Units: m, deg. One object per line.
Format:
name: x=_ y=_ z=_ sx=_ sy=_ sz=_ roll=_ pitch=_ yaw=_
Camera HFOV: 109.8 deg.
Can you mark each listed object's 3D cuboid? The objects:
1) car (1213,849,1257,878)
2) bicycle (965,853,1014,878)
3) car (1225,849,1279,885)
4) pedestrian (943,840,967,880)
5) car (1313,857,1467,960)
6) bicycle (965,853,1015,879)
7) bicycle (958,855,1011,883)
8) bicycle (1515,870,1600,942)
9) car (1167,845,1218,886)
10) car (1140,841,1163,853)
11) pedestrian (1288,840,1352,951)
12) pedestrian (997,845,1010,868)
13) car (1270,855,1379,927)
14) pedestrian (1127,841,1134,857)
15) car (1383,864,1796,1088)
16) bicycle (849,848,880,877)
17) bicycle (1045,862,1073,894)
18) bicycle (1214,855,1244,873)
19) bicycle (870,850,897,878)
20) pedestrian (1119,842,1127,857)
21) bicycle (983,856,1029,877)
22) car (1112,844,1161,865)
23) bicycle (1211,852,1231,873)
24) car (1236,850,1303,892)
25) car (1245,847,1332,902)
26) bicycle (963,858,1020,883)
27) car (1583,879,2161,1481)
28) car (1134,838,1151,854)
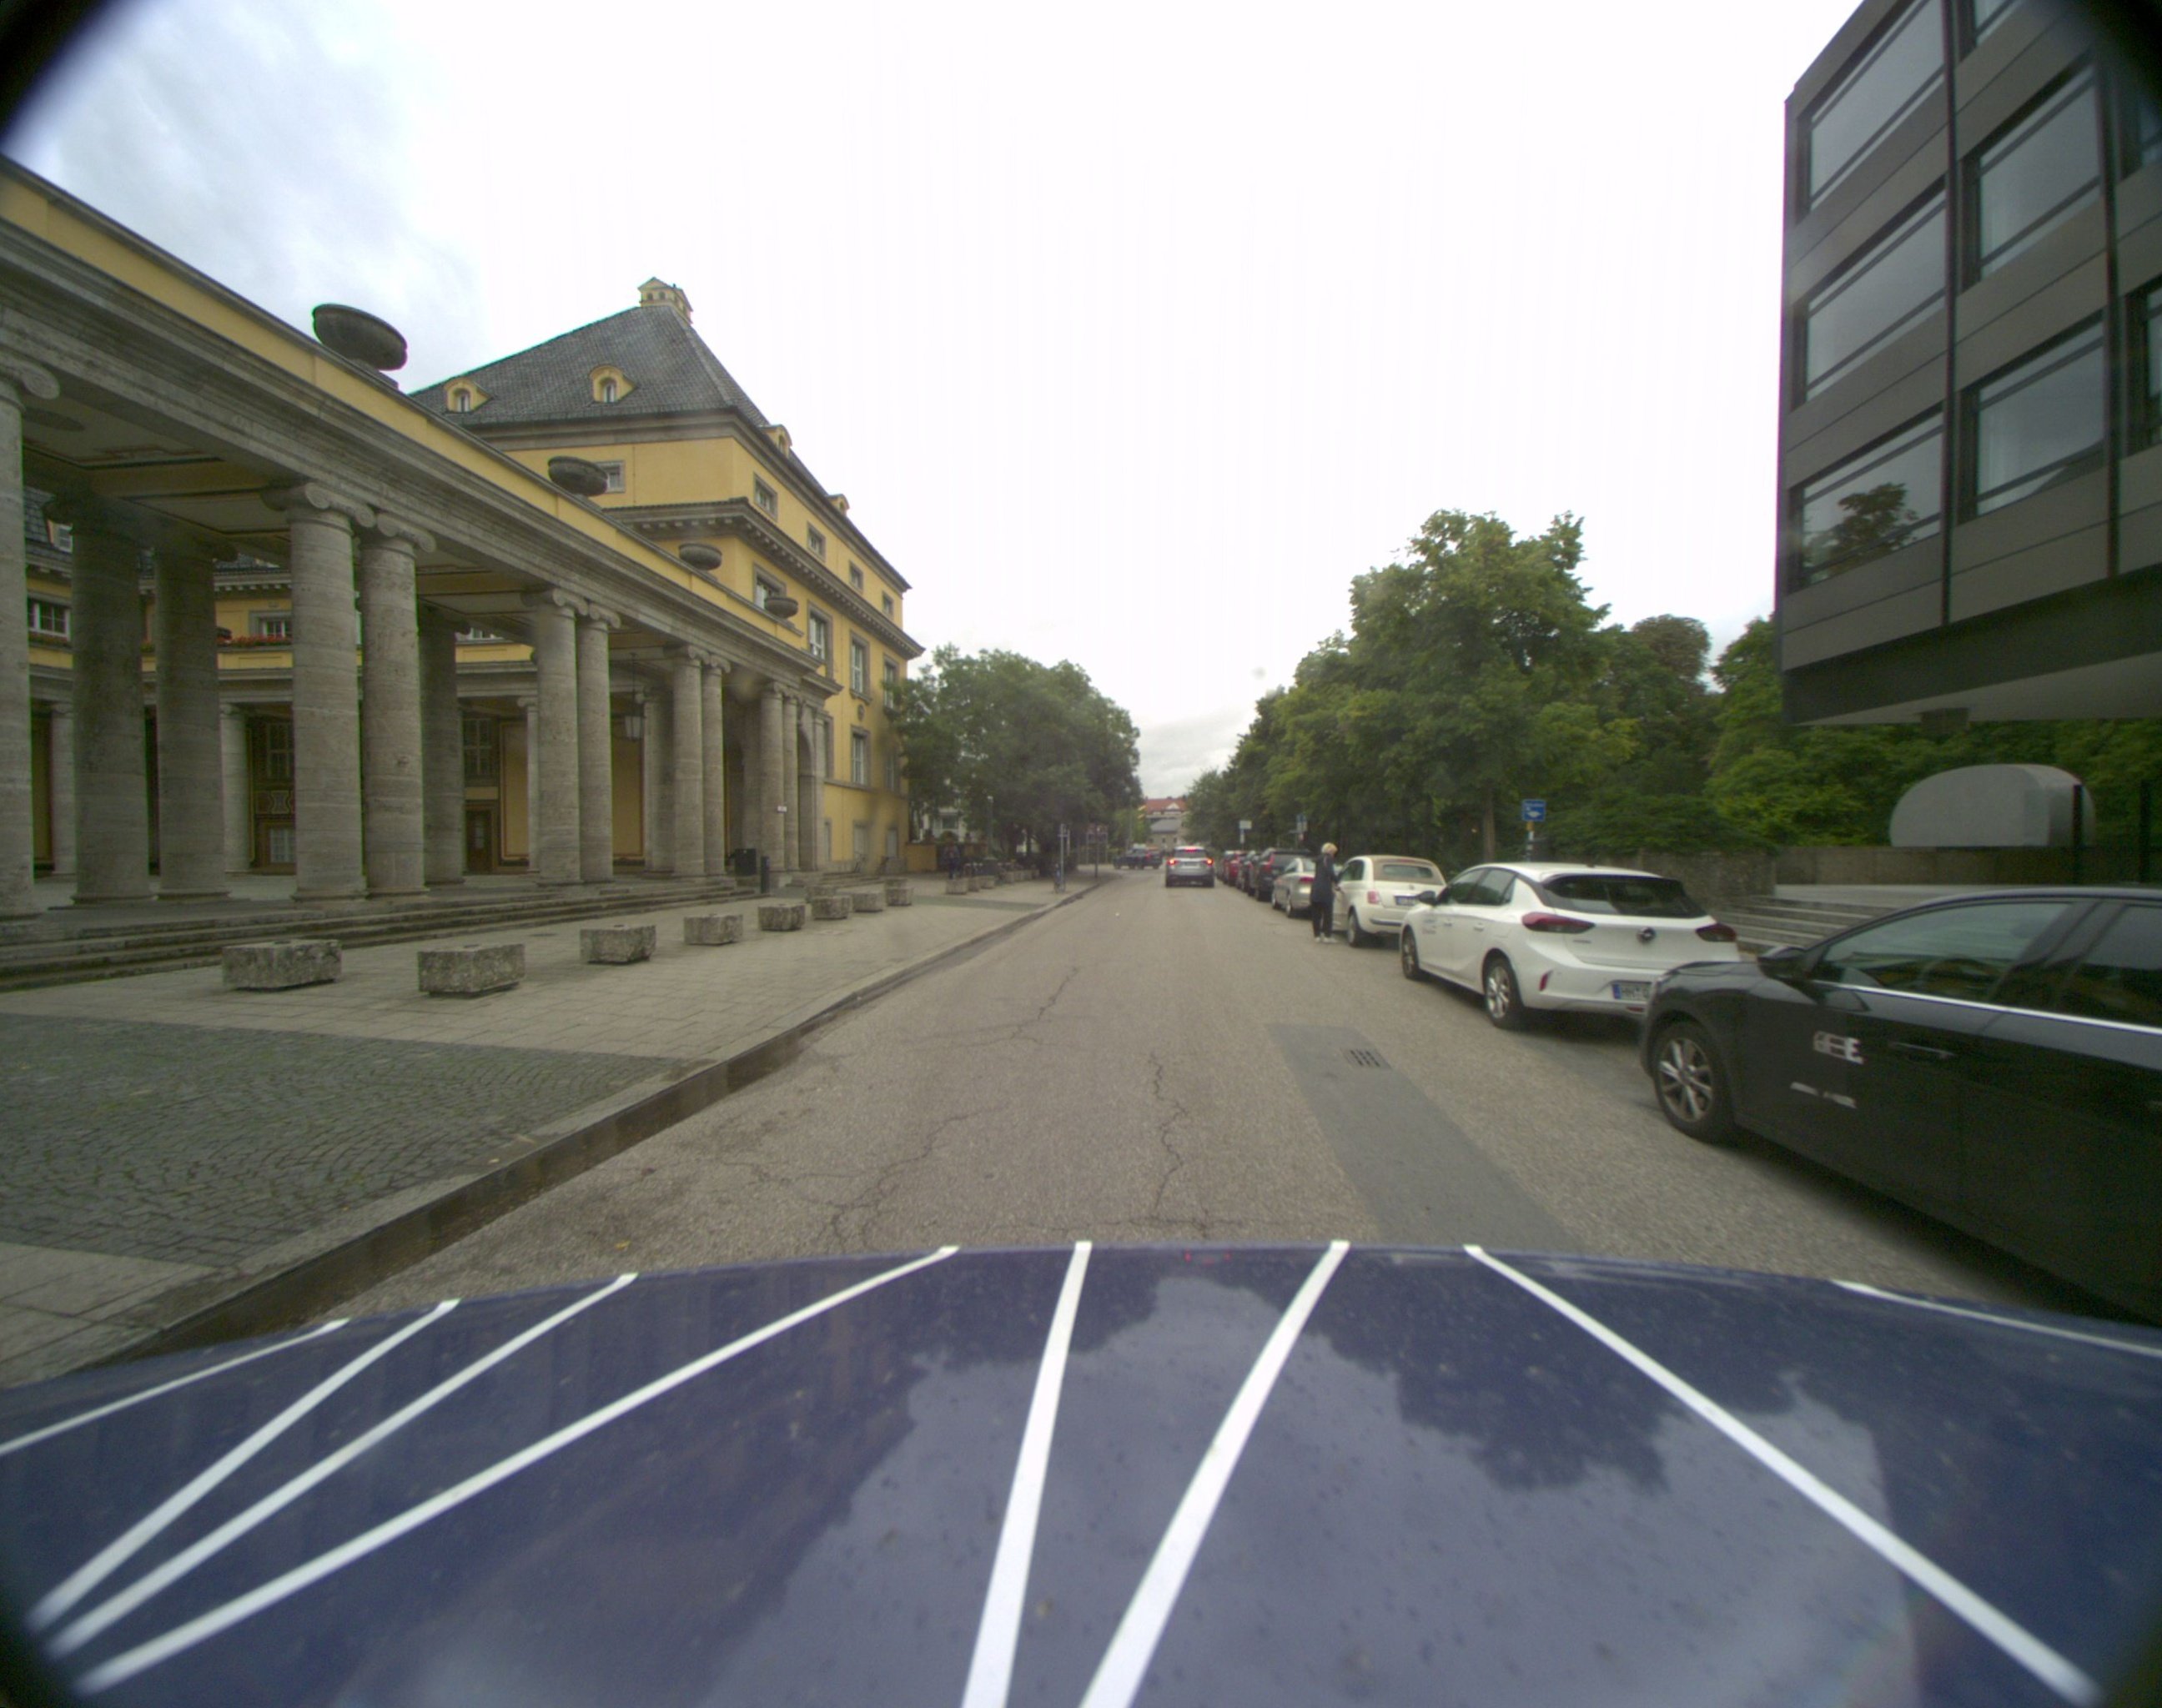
car: x=8.196 y=0.460 z=40.824 sx=1.997 sy=1.452 sz=4.366 roll=0 pitch=1 yaw=8
bicycle: x=-4.456 y=0.548 z=37.139 sx=2.263 sy=1.018 sz=0.601 roll=5 pitch=2 yaw=-5
car: x=7.626 y=0.531 z=34.285 sx=1.997 sy=1.535 sz=4.366 roll=0 pitch=1 yaw=8
pedestrian: x=-5.612 y=0.246 z=33.769 sx=0.789 sy=1.736 sz=1.056 roll=0 pitch=1 yaw=6
car: x=5.187 y=0.820 z=13.228 sx=1.546 sy=1.462 sz=3.554 roll=1 pitch=1 yaw=6
bicycle: x=-4.339 y=0.551 z=36.207 sx=2.263 sy=1.053 sz=0.601 roll=5 pitch=2 yaw=-5
bicycle: x=-4.359 y=0.664 z=34.464 sx=2.263 sy=1.088 sz=0.601 roll=5 pitch=2 yaw=-5
bicycle: x=8.577 y=0.903 z=13.739 sx=0.644 sy=1.157 sz=1.527 roll=-3 pitch=1 yaw=5
car: x=4.850 y=0.432 z=33.134 sx=2.028 sy=1.679 sz=4.679 roll=0 pitch=1 yaw=8
car: x=16.669 y=-1.712 z=179.259 sx=2.577 sy=2.521 sz=4.974 roll=-4 pitch=2 yaw=-40
pedestrian: x=3.962 y=0.665 z=12.584 sx=0.688 sy=1.742 sz=0.895 roll=3 pitch=1 yaw=36
pedestrian: x=-5.907 y=0.165 z=57.928 sx=0.741 sy=1.734 sz=0.841 roll=3 pitch=2 yaw=6
car: x=5.753 y=0.797 z=18.439 sx=1.761 sy=1.392 sz=4.219 roll=3 pitch=1 yaw=8
pedestrian: x=6.082 y=-0.626 z=93.536 sx=0.777 sy=1.855 sz=0.997 roll=-3 pitch=1 yaw=0
car: x=4.536 y=0.914 z=7.695 sx=1.684 sy=1.432 sz=4.281 roll=2 pitch=1 yaw=7
bicycle: x=-10.108 y=0.393 z=35.561 sx=0.601 sy=1.299 sz=2.265 roll=0 pitch=1 yaw=7
bicycle: x=-0.812 y=0.896 z=28.838 sx=0.762 sy=1.094 sz=2.265 roll=2 pitch=1 yaw=6
bicycle: x=9.001 y=0.602 z=46.328 sx=1.699 sy=1.101 sz=0.598 roll=-1 pitch=1 yaw=-2
bicycle: x=-9.835 y=0.475 z=37.906 sx=0.601 sy=1.299 sz=2.166 roll=0 pitch=1 yaw=6
pedestrian: x=5.139 y=-0.570 z=93.545 sx=0.777 sy=1.855 sz=0.997 roll=-3 pitch=1 yaw=-1
bicycle: x=-3.880 y=0.632 z=39.245 sx=2.260 sy=1.005 sz=0.602 roll=2 pitch=1 yaw=9
car: x=4.667 y=0.057 z=64.427 sx=1.969 sy=1.672 sz=4.900 roll=0 pitch=1 yaw=-26
bicycle: x=8.820 y=0.511 z=47.884 sx=0.574 sy=1.275 sz=1.421 roll=-1 pitch=1 yaw=39
car: x=7.255 y=0.591 z=29.671 sx=1.997 sy=1.452 sz=4.649 roll=0 pitch=1 yaw=8
car: x=6.464 y=0.579 z=24.192 sx=1.997 sy=1.574 sz=4.523 roll=0 pitch=1 yaw=6
bicycle: x=-3.901 y=0.727 z=33.173 sx=2.369 sy=1.000 sz=0.677 roll=2 pitch=1 yaw=-2
car: x=3.849 y=0.939 z=2.702 sx=1.743 sy=1.453 sz=4.239 roll=2 pitch=1 yaw=8
car: x=9.384 y=-1.279 z=116.790 sx=2.235 sy=2.289 sz=4.730 roll=-3 pitch=1 yaw=1
